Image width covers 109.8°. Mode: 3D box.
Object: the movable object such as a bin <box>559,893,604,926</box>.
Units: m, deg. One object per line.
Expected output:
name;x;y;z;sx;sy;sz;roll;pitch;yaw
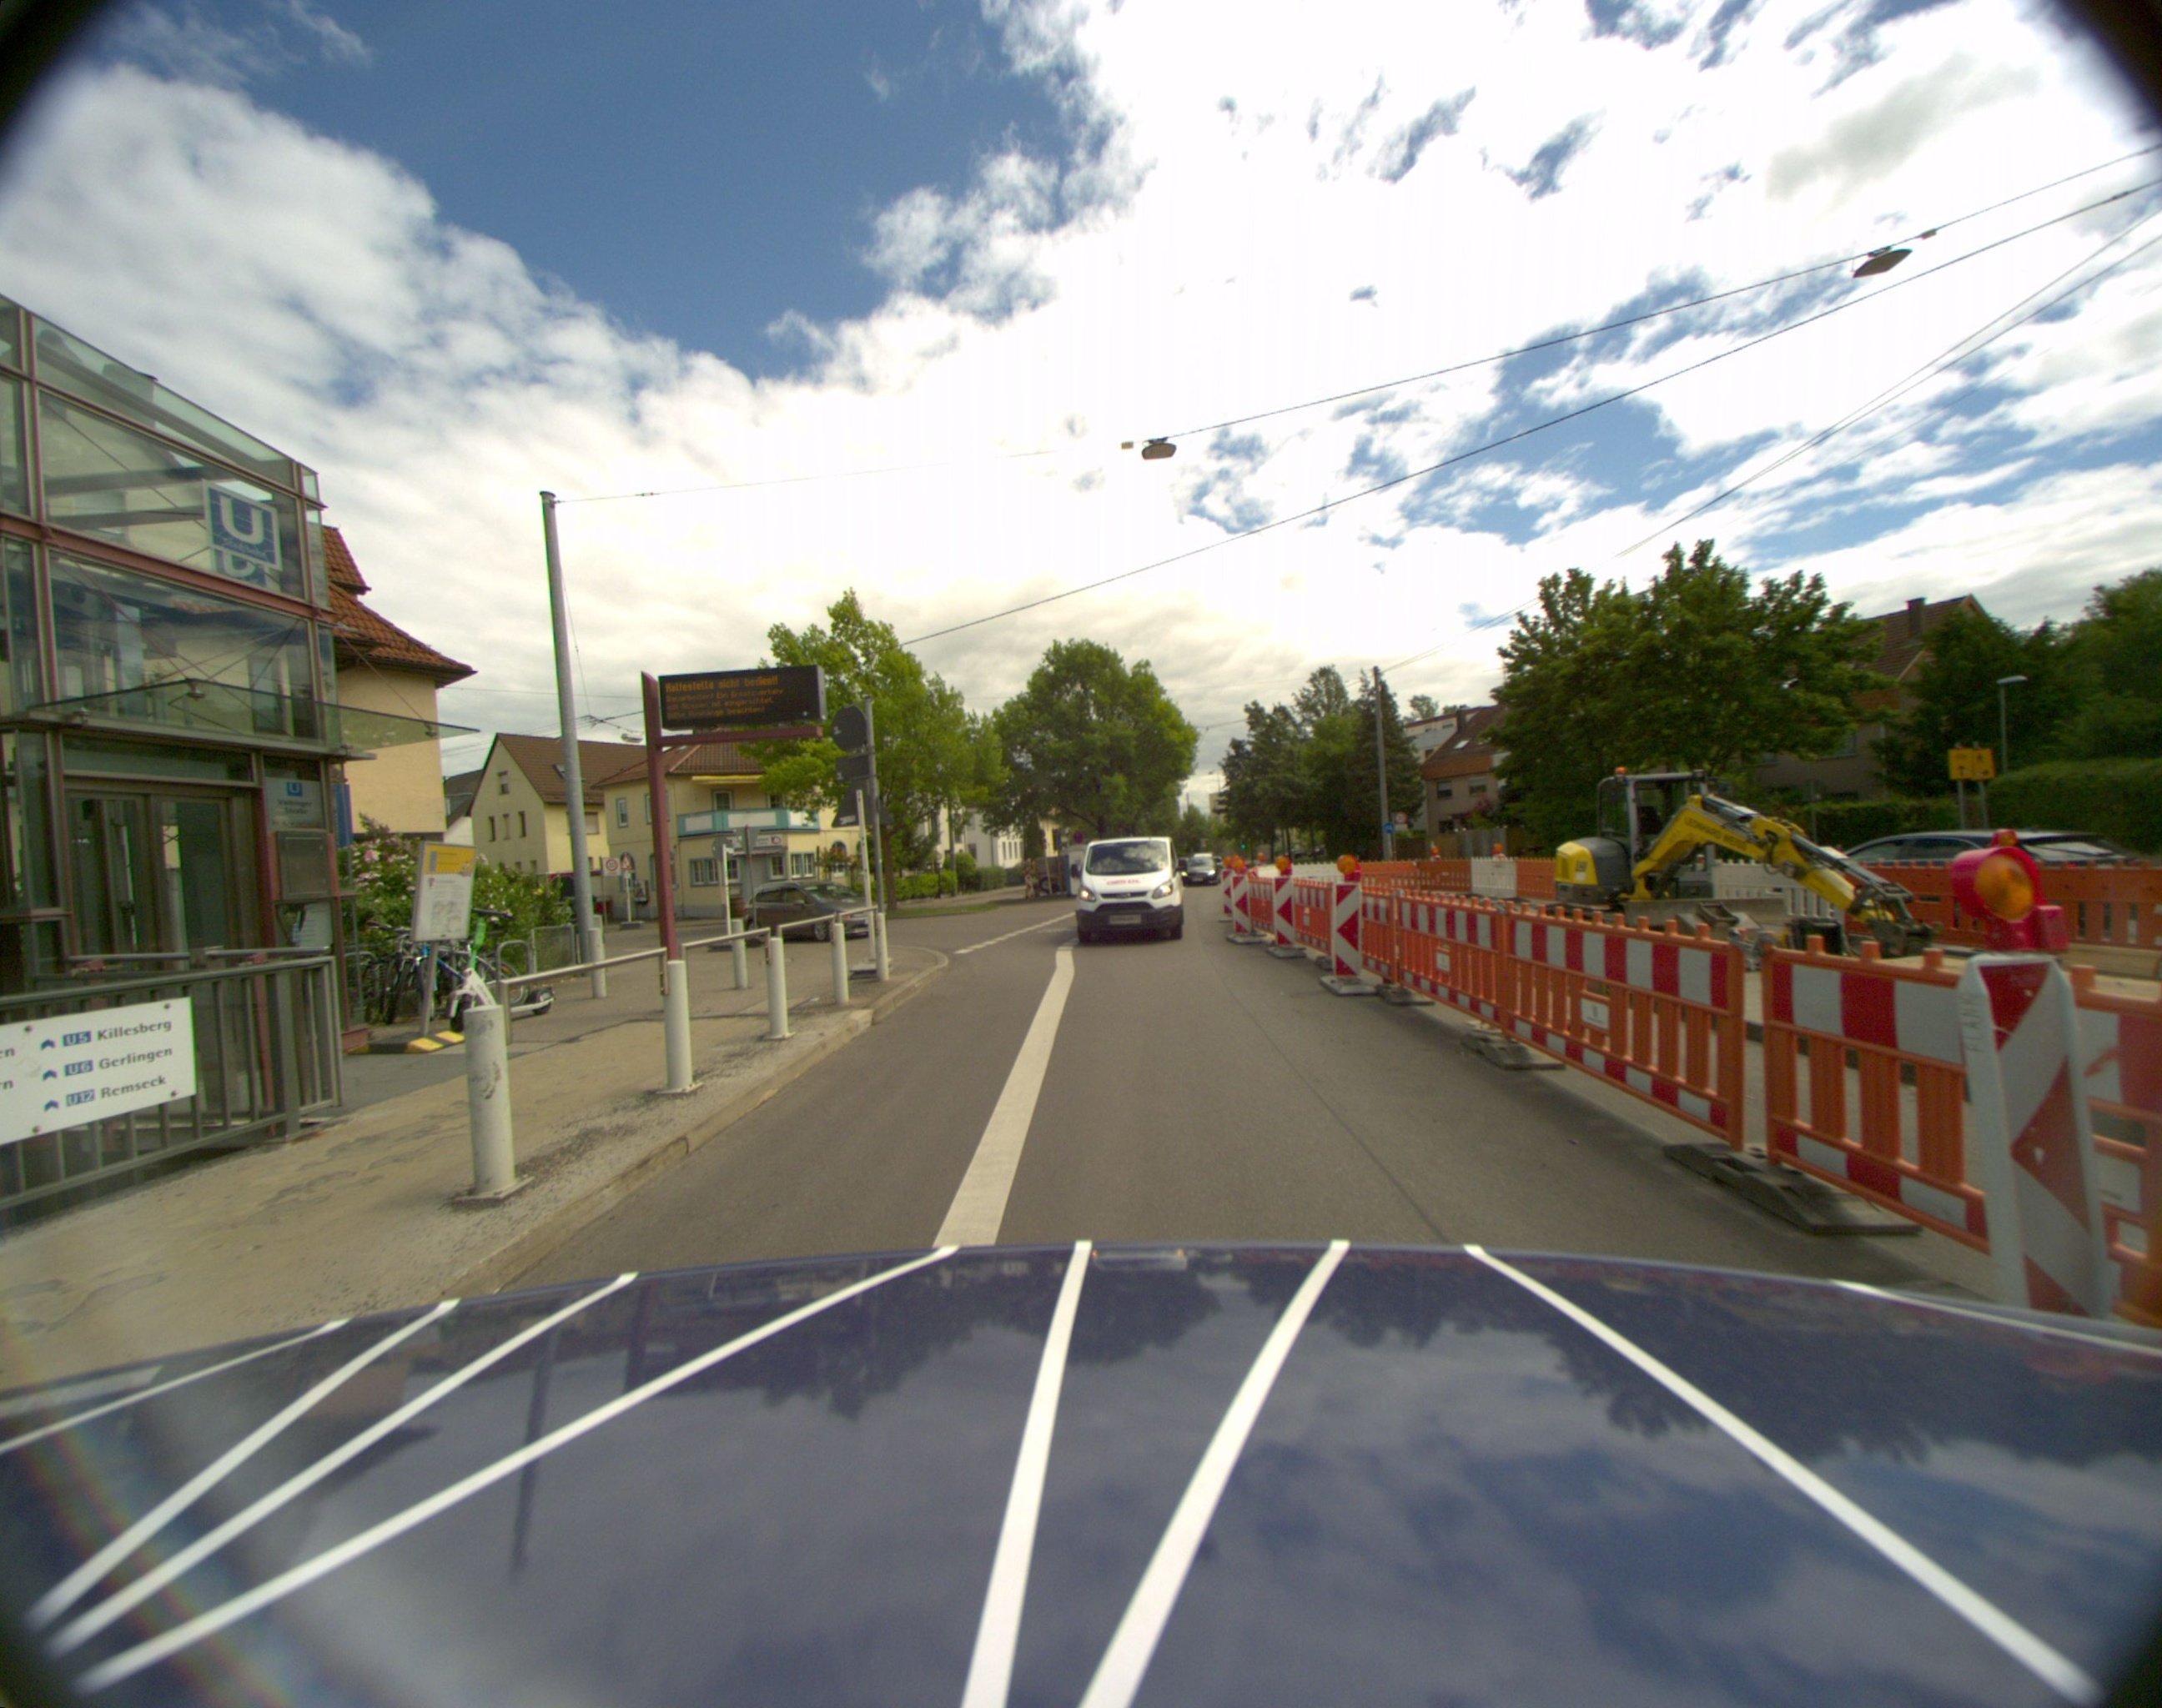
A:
movable object such as a bin;-24.998;2.766;38.033;1.303;1.482;1.416;-4;0;36

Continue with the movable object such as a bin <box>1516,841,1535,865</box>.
movable object such as a bin;19.098;-0.048;32.646;0.476;1.005;0.495;-3;1;5

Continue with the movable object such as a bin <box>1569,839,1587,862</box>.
movable object such as a bin;21.055;-0.151;32.188;0.378;0.972;0.525;-3;1;-8

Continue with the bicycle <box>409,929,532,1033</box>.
bicycle;-7.048;1.436;8.836;0.216;0.995;1.208;-2;0;12

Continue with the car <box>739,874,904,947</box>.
car;-6.812;1.482;19.836;3.990;1.615;1.873;-5;0;32

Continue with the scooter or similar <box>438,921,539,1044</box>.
scooter or similar;-5.885;1.244;7.587;0.216;1.105;0.947;-3;-3;4

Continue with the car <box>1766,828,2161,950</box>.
car;13.630;0.434;11.974;1.858;1.504;4.442;-3;0;4

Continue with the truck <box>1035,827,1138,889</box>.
truck;0.245;0.335;47.327;2.347;3.178;6.618;-3;-3;-41

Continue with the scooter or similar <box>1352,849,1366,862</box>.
scooter or similar;19.184;0.093;52.464;0.637;0.859;1.031;-4;0;8

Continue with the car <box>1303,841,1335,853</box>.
car;35.532;-0.986;113.429;4.002;1.499;1.997;-4;0;-18

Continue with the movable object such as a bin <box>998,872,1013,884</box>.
movable object such as a bin;-6.785;2.158;68.206;1.121;0.935;0.823;-4;0;9

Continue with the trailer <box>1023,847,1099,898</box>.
trailer;-0.911;0.883;39.459;2.597;2.232;5.678;-6;0;10

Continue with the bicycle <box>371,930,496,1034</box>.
bicycle;-7.570;1.468;8.937;0.216;1.003;1.190;-2;0;12

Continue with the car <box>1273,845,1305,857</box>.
car;30.538;-0.456;111.654;4.003;1.499;1.997;-4;0;-20

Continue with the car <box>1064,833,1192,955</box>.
car;1.213;0.643;15.997;1.997;2.002;5.516;-4;1;9

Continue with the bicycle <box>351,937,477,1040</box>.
bicycle;-7.857;1.554;9.006;0.216;1.003;1.190;-2;0;12

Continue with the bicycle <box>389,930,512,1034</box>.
bicycle;-7.313;1.451;8.866;0.216;1.008;1.170;-2;0;12

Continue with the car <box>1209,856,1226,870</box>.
car;16.387;1.034;91.473;1.697;1.504;4.002;-3;0;6

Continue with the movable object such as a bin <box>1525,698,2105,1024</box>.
movable object such as a bin;7.857;0.064;9.469;1.997;2.610;6.528;-2;0;12

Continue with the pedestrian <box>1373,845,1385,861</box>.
pedestrian;20.189;-0.076;51.517;0.555;1.080;0.642;-4;0;8

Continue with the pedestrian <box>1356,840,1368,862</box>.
pedestrian;19.068;-0.192;51.610;0.555;1.472;0.642;-4;0;8

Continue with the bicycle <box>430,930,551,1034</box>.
bicycle;-6.773;1.441;8.772;0.216;0.983;1.205;-2;0;12
